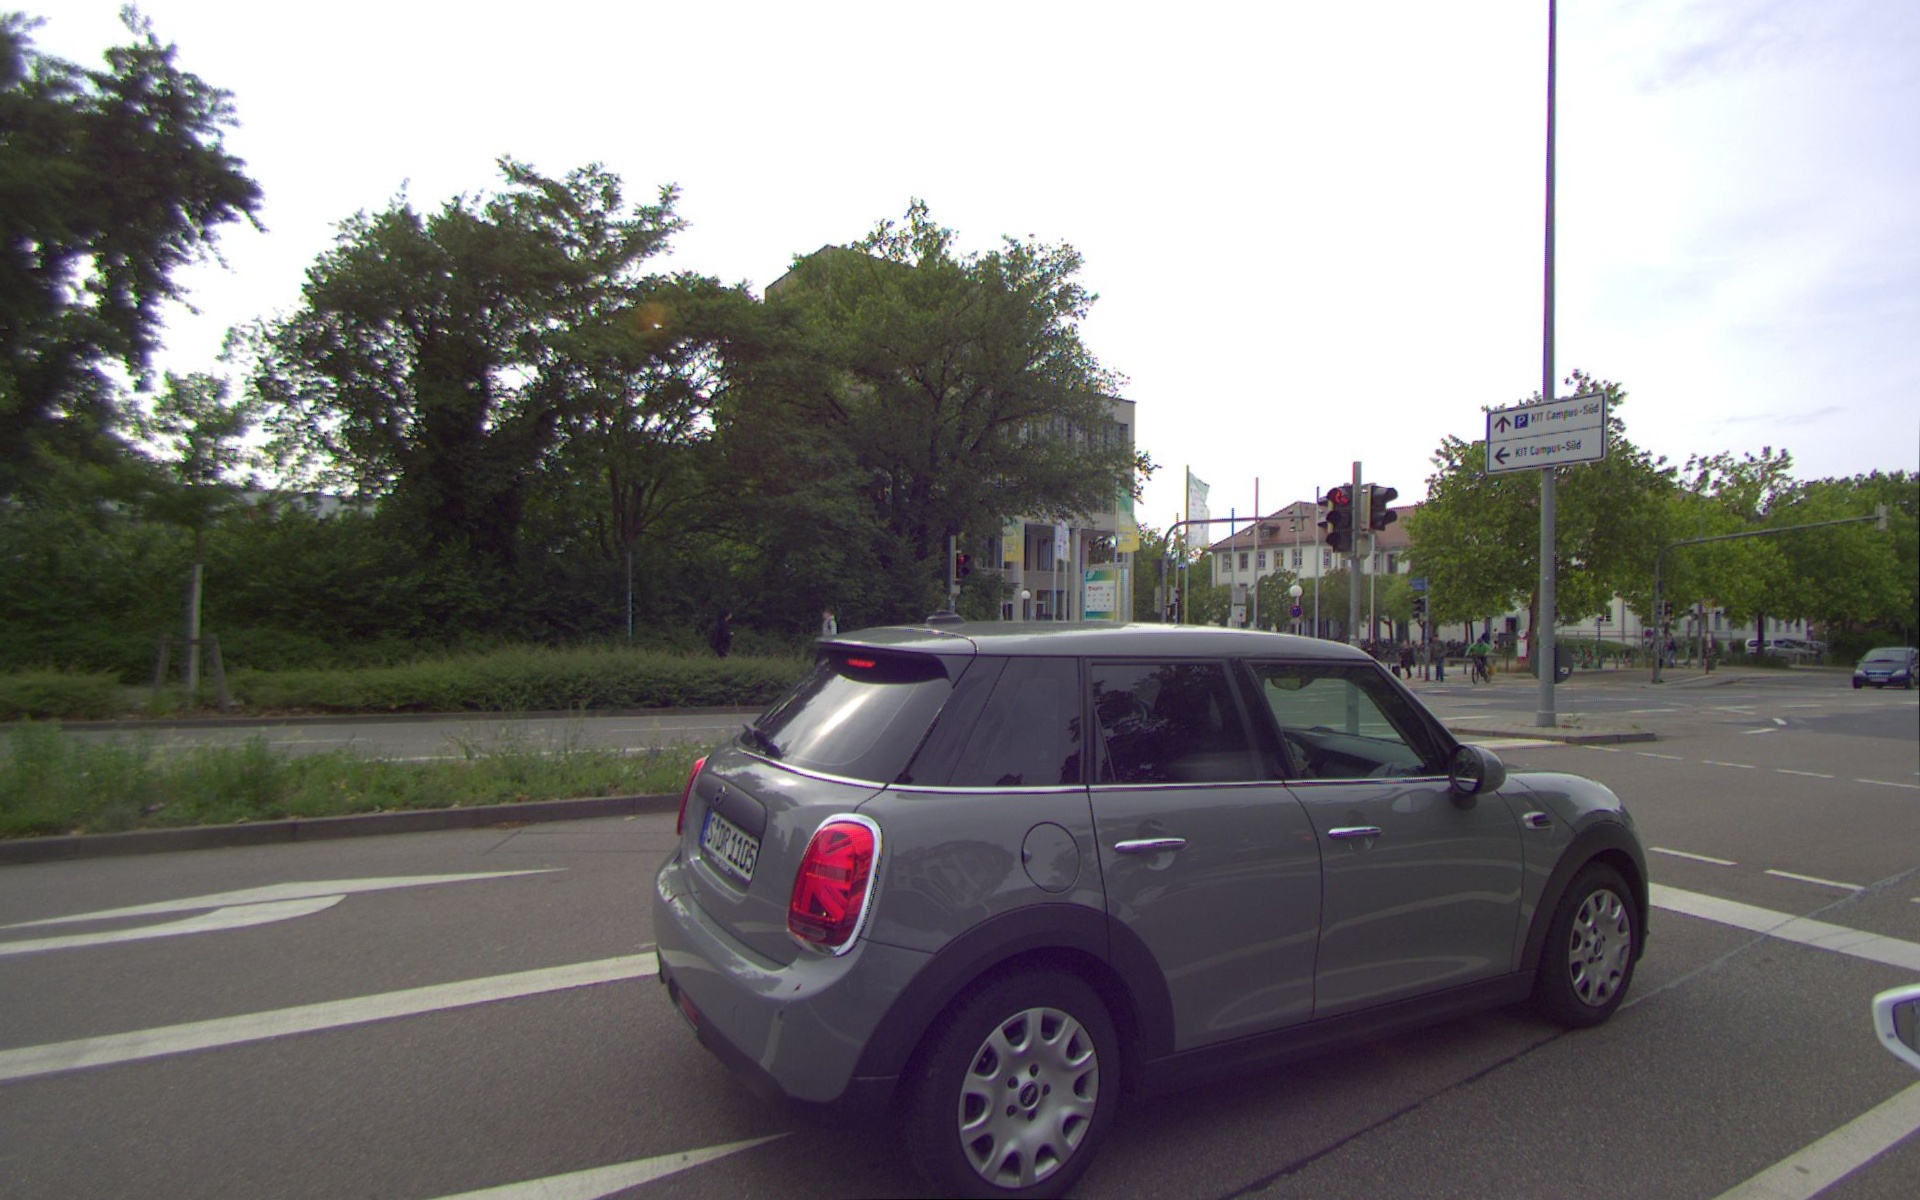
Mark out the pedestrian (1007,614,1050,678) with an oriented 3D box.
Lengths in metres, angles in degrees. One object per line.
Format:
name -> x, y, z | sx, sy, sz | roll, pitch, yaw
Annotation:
pedestrian -> 2.247, 1.495, 33.022 | 1.022, 2.040, 1.099 | 2, 0, 25

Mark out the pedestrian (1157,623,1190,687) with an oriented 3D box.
pedestrian -> 7.115, 1.816, 33.536 | 0.844, 2.086, 0.662 | 0, -1, -34

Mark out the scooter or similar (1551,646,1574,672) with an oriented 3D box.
scooter or similar -> 26.749, 2.616, 44.584 | 1.306, 1.155, 0.358 | 2, -2, -34

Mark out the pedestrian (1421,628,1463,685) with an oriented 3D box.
pedestrian -> 17.997, 2.098, 37.475 | 1.165, 2.040, 1.138 | 2, 0, 37

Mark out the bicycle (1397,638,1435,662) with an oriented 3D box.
bicycle -> 31.782, 3.486, 70.013 | 0.907, 1.579, 2.658 | 1, -2, -16

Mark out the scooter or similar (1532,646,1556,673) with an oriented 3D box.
scooter or similar -> 25.410, 2.571, 43.700 | 1.306, 1.155, 0.358 | 2, -2, -34

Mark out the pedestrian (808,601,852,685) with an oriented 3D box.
pedestrian -> -3.244, 1.053, 24.995 | 0.811, 2.040, 0.903 | 1, 0, -26

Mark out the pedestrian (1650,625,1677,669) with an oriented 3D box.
pedestrian -> 33.701, 2.241, 48.101 | 0.919, 2.040, 0.795 | 2, 0, -40

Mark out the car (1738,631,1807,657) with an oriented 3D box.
car -> 58.688, 3.162, 72.556 | 1.636, 1.623, 3.561 | 2, 0, -35

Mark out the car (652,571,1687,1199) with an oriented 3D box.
car -> 0.903, 0.677, 3.754 | 3.662, 1.335, 1.613 | 2, -2, -30

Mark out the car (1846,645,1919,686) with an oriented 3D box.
car -> 35.798, 2.465, 38.402 | 3.654, 1.483, 1.844 | 2, -2, -30

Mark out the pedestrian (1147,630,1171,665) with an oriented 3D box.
pedestrian -> 11.589, 2.760, 58.509 | 1.007, 2.040, 0.996 | 2, -2, -34

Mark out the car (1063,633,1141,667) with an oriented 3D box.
car -> 7.569, 2.654, 53.992 | 1.980, 1.601, 3.961 | 2, 0, -35

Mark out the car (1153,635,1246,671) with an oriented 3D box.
car -> 11.445, 2.506, 48.189 | 1.982, 1.491, 3.958 | 2, 0, -37

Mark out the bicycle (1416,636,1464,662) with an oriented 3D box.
bicycle -> 30.525, 3.112, 63.962 | 0.916, 1.579, 2.633 | 2, -2, -43

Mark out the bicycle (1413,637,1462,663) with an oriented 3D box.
bicycle -> 29.529, 3.083, 62.159 | 0.774, 1.579, 2.637 | 2, -2, -39

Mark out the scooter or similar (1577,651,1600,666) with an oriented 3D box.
scooter or similar -> 30.643, 2.860, 48.947 | 1.274, 0.703, 0.404 | 2, 0, -31

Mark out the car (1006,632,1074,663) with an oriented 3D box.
car -> 4.598, 2.724, 58.214 | 1.835, 1.706, 3.961 | 2, -2, -35

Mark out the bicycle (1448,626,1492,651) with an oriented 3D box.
bicycle -> 33.094, 2.517, 65.189 | 0.916, 1.579, 2.421 | 2, -2, -44

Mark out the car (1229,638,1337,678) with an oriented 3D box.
car -> 14.189, 2.536, 44.284 | 1.982, 1.491, 4.111 | 2, 0, -37

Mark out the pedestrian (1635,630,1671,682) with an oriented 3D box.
pedestrian -> 27.769, 2.232, 40.266 | 1.000, 2.040, 0.888 | 2, -2, -36

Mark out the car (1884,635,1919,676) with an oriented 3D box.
car -> 40.853, 2.321, 42.046 | 3.949, 1.641, 1.986 | 2, -2, -28

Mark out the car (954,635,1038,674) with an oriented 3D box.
car -> 1.499, 2.287, 42.638 | 1.844, 1.469, 3.562 | 2, -1, -34

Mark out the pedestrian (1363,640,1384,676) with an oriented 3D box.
pedestrian -> 17.224, 2.402, 41.829 | 0.687, 1.447, 0.999 | 2, 0, 28

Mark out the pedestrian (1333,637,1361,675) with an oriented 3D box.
pedestrian -> 16.411, 2.353, 42.594 | 0.812, 1.533, 0.971 | 2, 0, 37

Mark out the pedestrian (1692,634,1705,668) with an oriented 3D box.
pedestrian -> 38.620, 2.655, 52.521 | 0.430, 1.762, 0.415 | 2, 0, -40

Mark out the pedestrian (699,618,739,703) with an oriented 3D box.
pedestrian -> -5.049, 1.253, 21.023 | 0.645, 1.717, 0.586 | 2, 0, -31

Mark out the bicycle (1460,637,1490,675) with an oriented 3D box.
bicycle -> 19.481, 2.100, 37.955 | 0.597, 1.351, 2.303 | 2, 0, 37

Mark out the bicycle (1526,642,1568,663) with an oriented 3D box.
bicycle -> 33.666, 2.997, 57.660 | 2.005, 1.168, 0.718 | -1, -2, 39

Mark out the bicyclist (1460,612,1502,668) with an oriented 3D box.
bicyclist -> 19.576, 1.487, 37.730 | 1.165, 2.040, 1.277 | 2, 0, 37

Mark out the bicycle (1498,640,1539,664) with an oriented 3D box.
bicycle -> 38.153, 3.519, 68.602 | 0.715, 1.615, 2.382 | 2, -2, -37

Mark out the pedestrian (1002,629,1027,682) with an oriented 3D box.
pedestrian -> 1.735, 1.753, 31.892 | 0.598, 1.628, 0.497 | 2, -1, -42
